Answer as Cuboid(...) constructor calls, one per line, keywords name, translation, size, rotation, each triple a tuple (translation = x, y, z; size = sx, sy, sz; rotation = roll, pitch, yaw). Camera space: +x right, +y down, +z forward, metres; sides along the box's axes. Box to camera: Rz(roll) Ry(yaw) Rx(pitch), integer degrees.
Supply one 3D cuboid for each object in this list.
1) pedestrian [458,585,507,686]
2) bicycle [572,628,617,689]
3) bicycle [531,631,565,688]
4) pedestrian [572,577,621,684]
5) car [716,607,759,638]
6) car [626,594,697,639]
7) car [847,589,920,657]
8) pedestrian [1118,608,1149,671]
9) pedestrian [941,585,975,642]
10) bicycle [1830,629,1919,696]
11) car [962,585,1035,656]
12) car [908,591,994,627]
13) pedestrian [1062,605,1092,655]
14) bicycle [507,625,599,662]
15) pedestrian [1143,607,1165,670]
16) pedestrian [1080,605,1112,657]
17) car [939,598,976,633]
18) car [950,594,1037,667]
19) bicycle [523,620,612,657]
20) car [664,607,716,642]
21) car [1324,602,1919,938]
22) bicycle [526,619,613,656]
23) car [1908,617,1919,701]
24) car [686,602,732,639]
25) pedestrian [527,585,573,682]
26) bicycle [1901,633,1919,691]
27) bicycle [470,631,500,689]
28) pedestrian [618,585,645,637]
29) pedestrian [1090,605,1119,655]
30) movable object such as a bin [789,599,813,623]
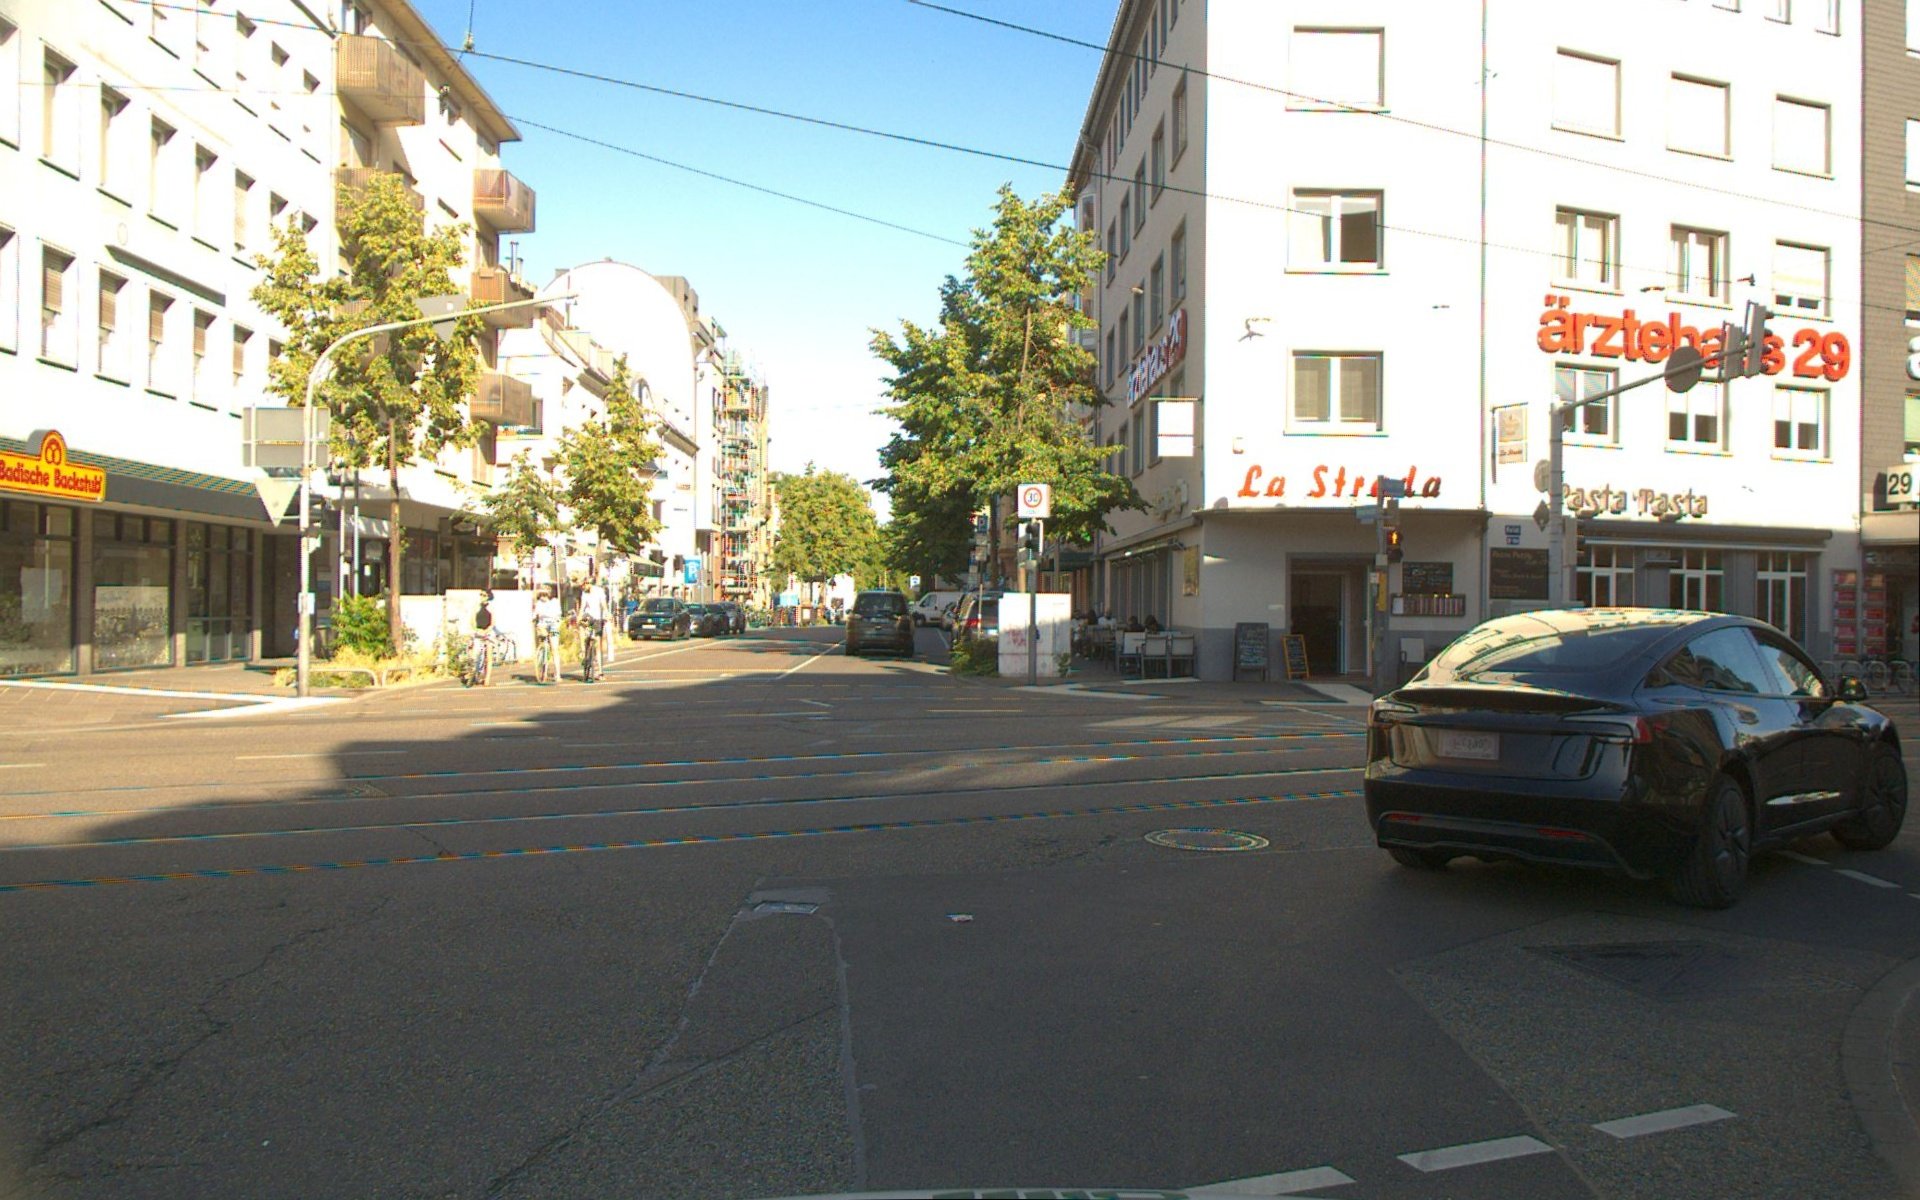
Cuboid(name="pedestrian", translation=(-8.405, 0.623, 29.124), size=(0.777, 1.742, 0.651), rotation=(1, 0, -16))
Cuboid(name="bicycle", translation=(-6.667, 1.049, 30.188), size=(0.745, 1.025, 1.720), rotation=(-2, 0, -13))
Cuboid(name="bicycle", translation=(-7.524, 1.072, 30.256), size=(0.542, 0.985, 1.789), rotation=(0, 0, -12))
Cuboid(name="pedestrian", translation=(-6.658, 0.542, 30.246), size=(0.765, 1.899, 0.997), rotation=(-2, 1, -16))
Cuboid(name="car", translation=(-10.898, 1.085, 81.107), size=(1.750, 1.427, 3.904), rotation=(1, 0, -3))
Cuboid(name="car", translation=(-11.416, 0.629, 63.435), size=(1.952, 1.626, 4.000), rotation=(1, 0, 0))
Cuboid(name="car", translation=(-2.068, 0.607, 45.679), size=(1.865, 1.763, 4.287), rotation=(1, 0, -1))
Cuboid(name="pedestrian", translation=(3.660, 0.829, 34.924), size=(0.574, 1.336, 0.560), rotation=(0, 0, -1))
Cuboid(name="pedestrian", translation=(-0.071, 0.452, 56.986), size=(0.937, 1.949, 1.106), rotation=(0, 0, 15))
Cuboid(name="bicycle", translation=(18.736, 1.247, 33.268), size=(0.763, 1.245, 2.089), rotation=(1, 1, -30))
Cuboid(name="car", translation=(1.049, 0.556, 46.971), size=(1.865, 1.884, 4.287), rotation=(1, 0, -1))
Cuboid(name="car", translation=(-0.578, 0.539, 102.237), size=(5.283, 2.183, 1.999), rotation=(0, 0, -3))
Cuboid(name="pedestrian", translation=(3.221, 0.823, 45.520), size=(0.695, 1.371, 1.059), rotation=(0, 0, -4))
Cuboid(name="bicycle", translation=(-10.908, 1.168, 44.381), size=(2.355, 0.975, 0.543), rotation=(0, 0, -14))
Cuboid(name="pedestrian", translation=(4.188, 0.834, 35.715), size=(0.477, 1.345, 0.654), rotation=(0, 0, 6))
Cuboid(name="pedestrian", translation=(3.636, 0.827, 44.420), size=(0.716, 1.371, 1.059), rotation=(0, 0, -3))
Cuboid(name="car", translation=(-0.127, 0.829, 90.608), size=(1.953, 1.856, 3.999), rotation=(1, 0, -1))
Cuboid(name="car", translation=(0.769, 0.711, 40.536), size=(1.960, 1.665, 4.287), rotation=(1, 0, -1))
Cuboid(name="bicycle", translation=(-10.834, 1.066, 45.707), size=(2.347, 0.995, 0.654), rotation=(0, 0, -12))
Cuboid(name="car", translation=(-11.607, 1.050, 71.191), size=(1.750, 1.427, 3.904), rotation=(1, 0, -3))
Cuboid(name="car", translation=(4.005, 0.754, 9.559), size=(1.842, 1.452, 4.338), rotation=(1, 1, 42))
Cuboid(name="bicycle", translation=(-10.985, 1.064, 46.538), size=(2.354, 1.023, 0.654), rotation=(0, 0, -12))
Cuboid(name="car", translation=(18.788, 1.006, 29.006), size=(4.072, 1.471, 1.705), rotation=(0, -2, -25))
Cuboid(name="car", translation=(-11.533, 0.936, 76.242), size=(1.683, 1.638, 3.596), rotation=(0, 0, -2))
Cuboid(name="pedestrian", translation=(-7.543, 0.621, 30.415), size=(0.765, 1.758, 0.557), rotation=(1, 0, -16))
Cuboid(name="bicycle", translation=(20.594, 1.322, 34.137), size=(0.763, 1.193, 1.922), rotation=(1, 1, -30))
Cuboid(name="bicycle", translation=(-8.454, 1.052, 29.463), size=(0.472, 0.972, 1.449), rotation=(0, 0, -15))
Cuboid(name="pedestrian", translation=(-13.369, 0.433, 67.259), size=(0.936, 2.048, 1.085), rotation=(-3, 0, -14))
Cuboid(name="pedestrian", translation=(3.985, 0.825, 45.698), size=(0.716, 1.384, 0.958), rotation=(0, 0, -1))
Cuboid(name="movable object such as a bin", translation=(-9.771, 0.671, 101.780), size=(1.289, 1.432, 1.065), rotation=(0, 0, -18))
